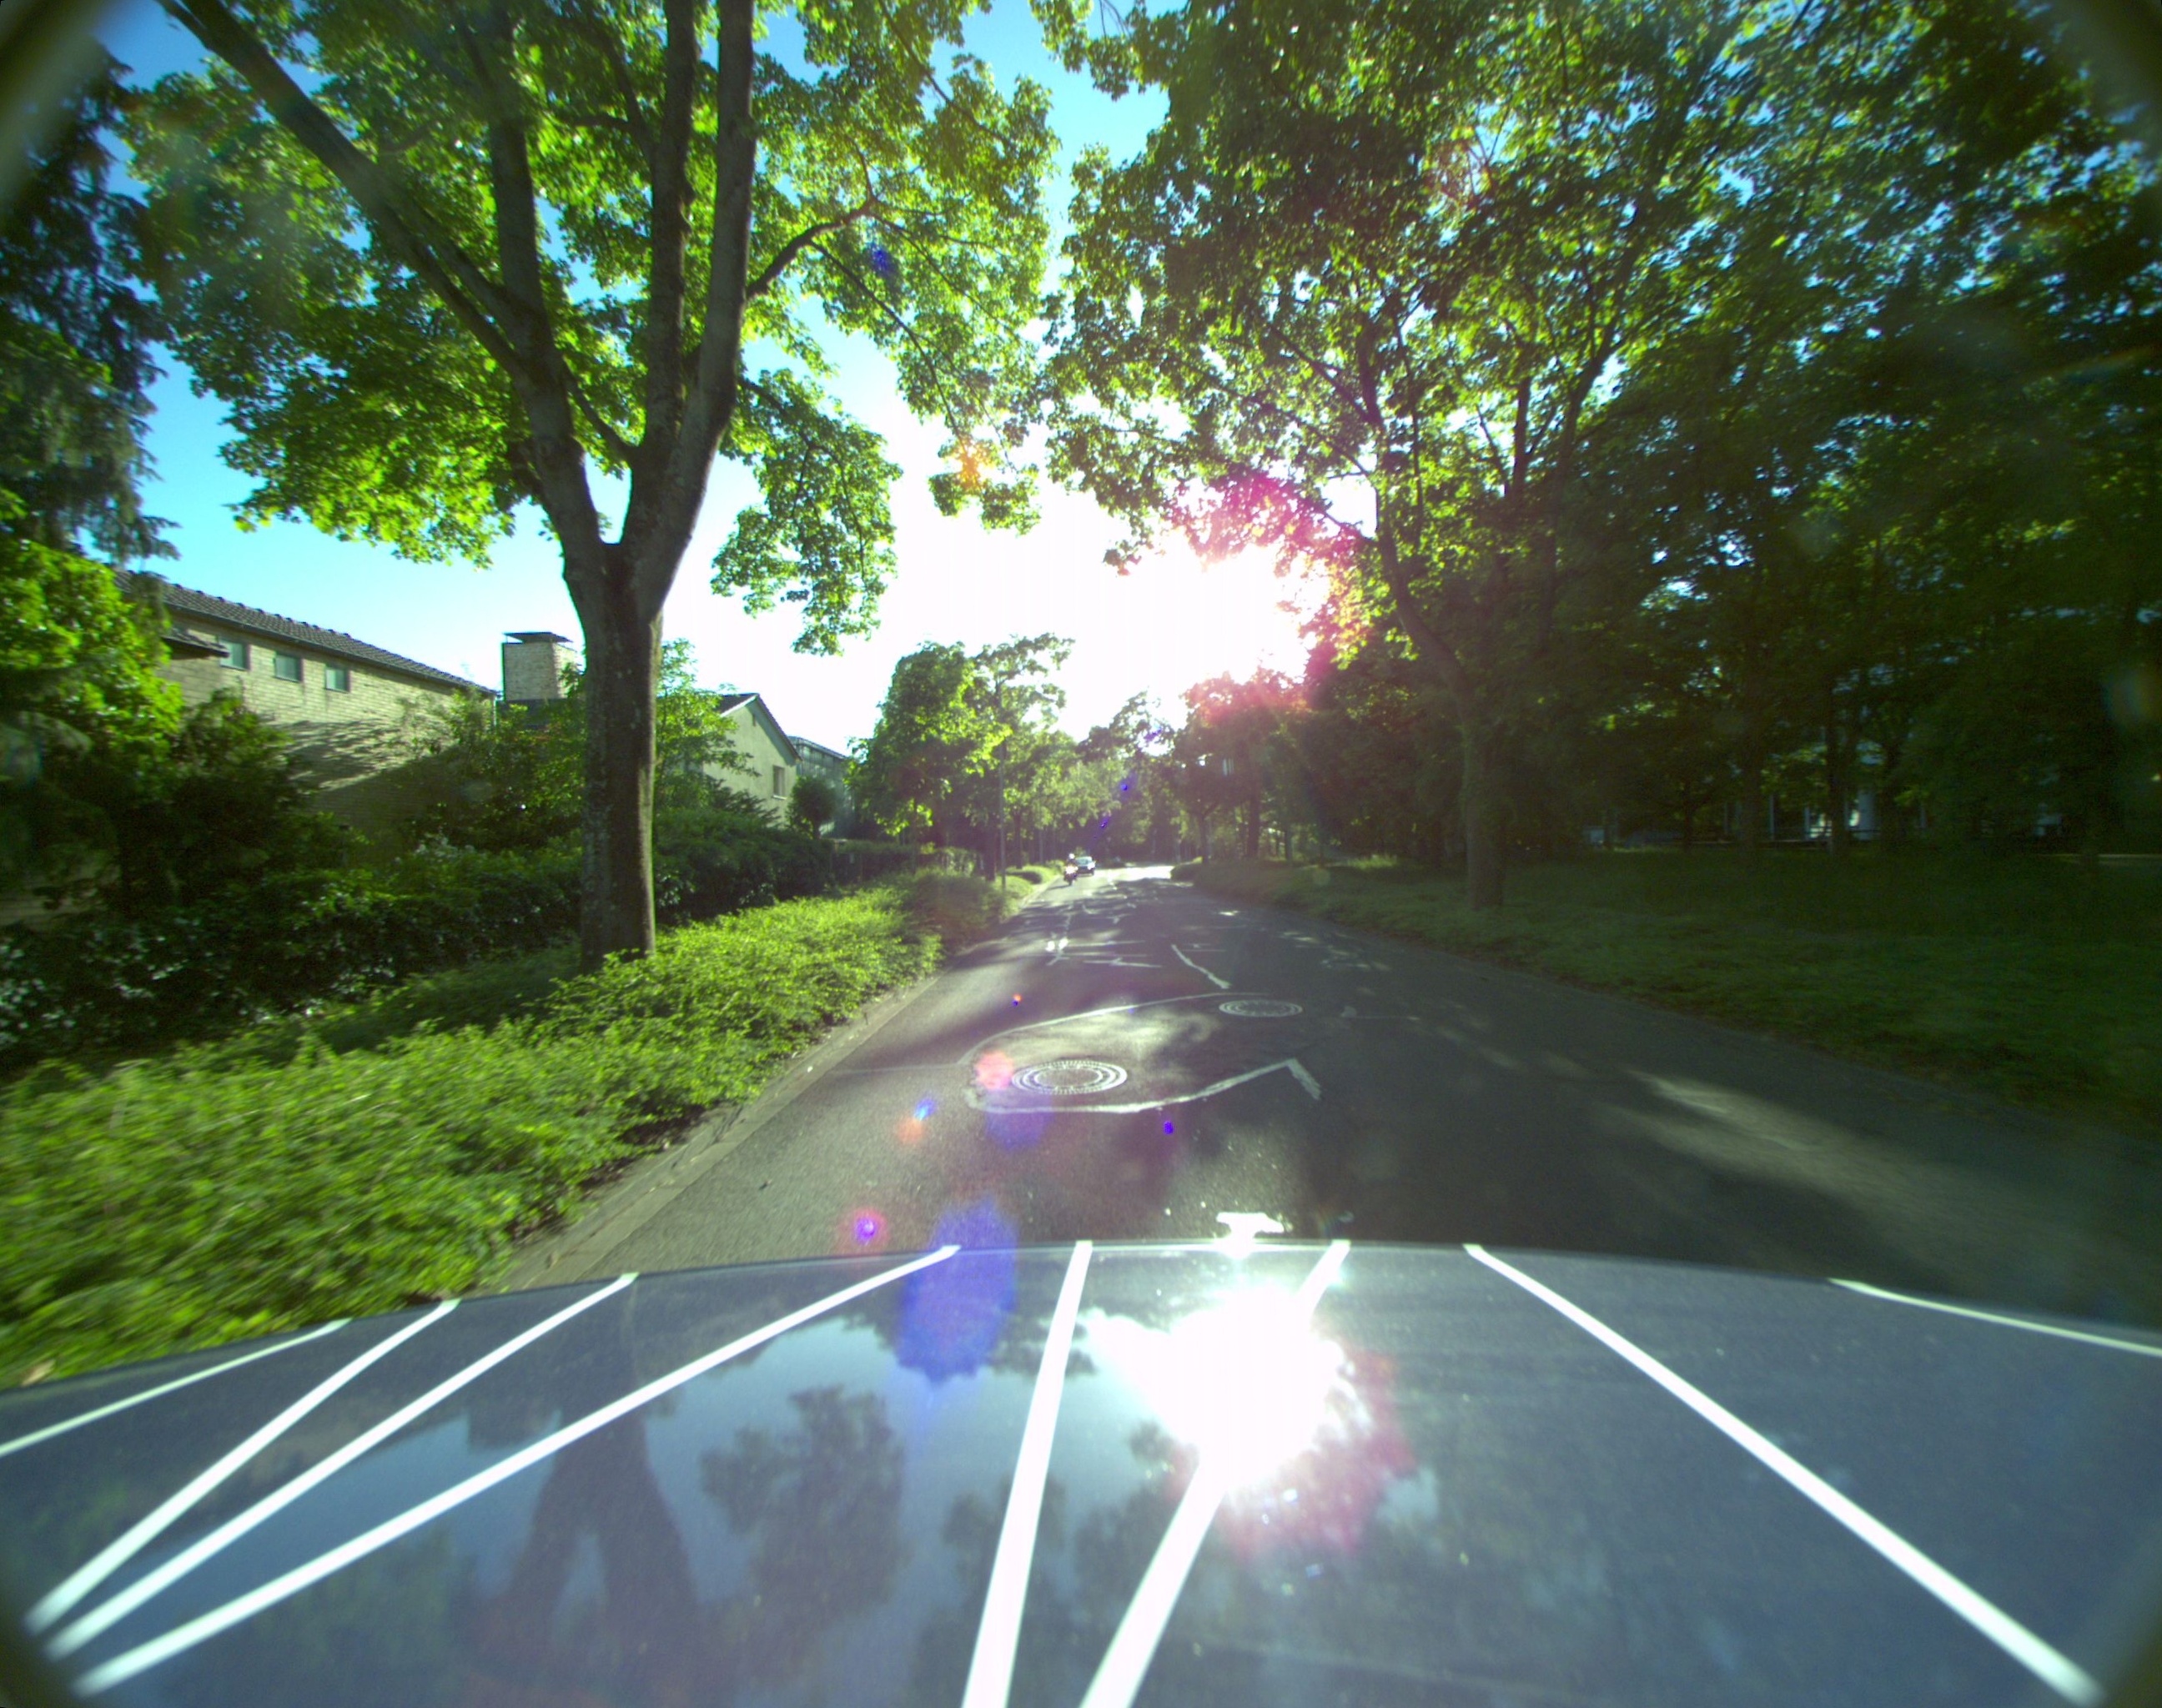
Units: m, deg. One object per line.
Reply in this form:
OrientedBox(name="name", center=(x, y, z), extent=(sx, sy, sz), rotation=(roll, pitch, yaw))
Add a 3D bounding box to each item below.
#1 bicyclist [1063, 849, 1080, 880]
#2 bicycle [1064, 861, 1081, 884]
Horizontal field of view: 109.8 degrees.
OrientedBox(name="bicyclist", center=(-0.508, 0.544, 41.485), extent=(0.819, 1.635, 0.744), rotation=(-3, 1, -1))
OrientedBox(name="bicycle", center=(-0.480, 1.010, 41.593), extent=(0.829, 1.182, 2.302), rotation=(-3, 0, -1))
